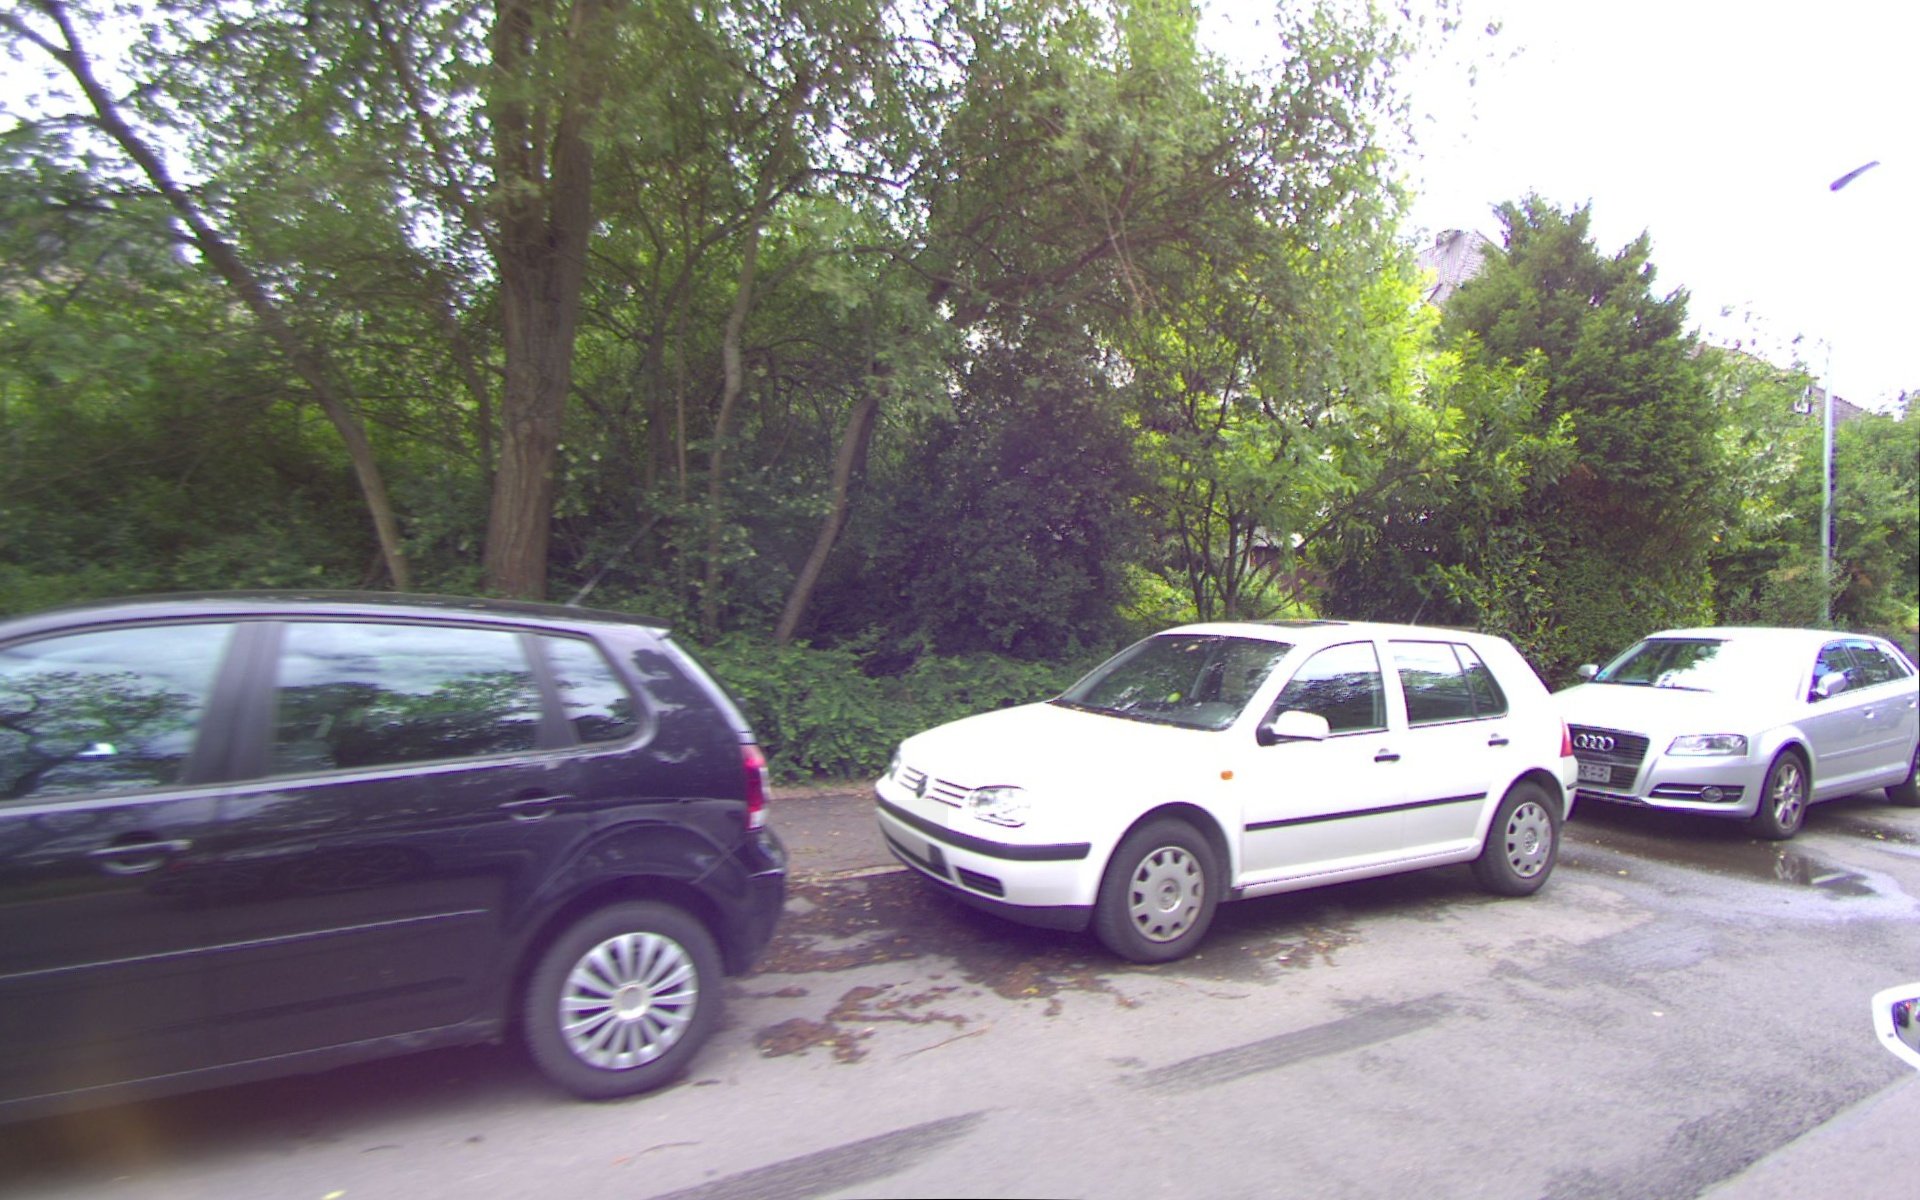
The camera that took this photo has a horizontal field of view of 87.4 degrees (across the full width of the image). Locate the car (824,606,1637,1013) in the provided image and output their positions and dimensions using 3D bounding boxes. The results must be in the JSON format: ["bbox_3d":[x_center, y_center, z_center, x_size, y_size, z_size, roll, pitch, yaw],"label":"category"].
[{"bbox_3d":[1.594,0.809,5.442,4.328,1.472,1.652,1,0,-29],"label":"car"}]

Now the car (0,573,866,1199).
[{"bbox_3d":[-2.414,0.678,3.055,3.919,1.469,1.616,2,-1,-28],"label":"car"}]

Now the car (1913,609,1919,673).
[{"bbox_3d":[26.326,1.144,24.745,1.798,1.659,3.691,2,1,-16],"label":"car"}]

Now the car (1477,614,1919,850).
[{"bbox_3d":[6.146,0.892,8.085,4.045,1.469,1.615,2,-1,-30],"label":"car"}]
